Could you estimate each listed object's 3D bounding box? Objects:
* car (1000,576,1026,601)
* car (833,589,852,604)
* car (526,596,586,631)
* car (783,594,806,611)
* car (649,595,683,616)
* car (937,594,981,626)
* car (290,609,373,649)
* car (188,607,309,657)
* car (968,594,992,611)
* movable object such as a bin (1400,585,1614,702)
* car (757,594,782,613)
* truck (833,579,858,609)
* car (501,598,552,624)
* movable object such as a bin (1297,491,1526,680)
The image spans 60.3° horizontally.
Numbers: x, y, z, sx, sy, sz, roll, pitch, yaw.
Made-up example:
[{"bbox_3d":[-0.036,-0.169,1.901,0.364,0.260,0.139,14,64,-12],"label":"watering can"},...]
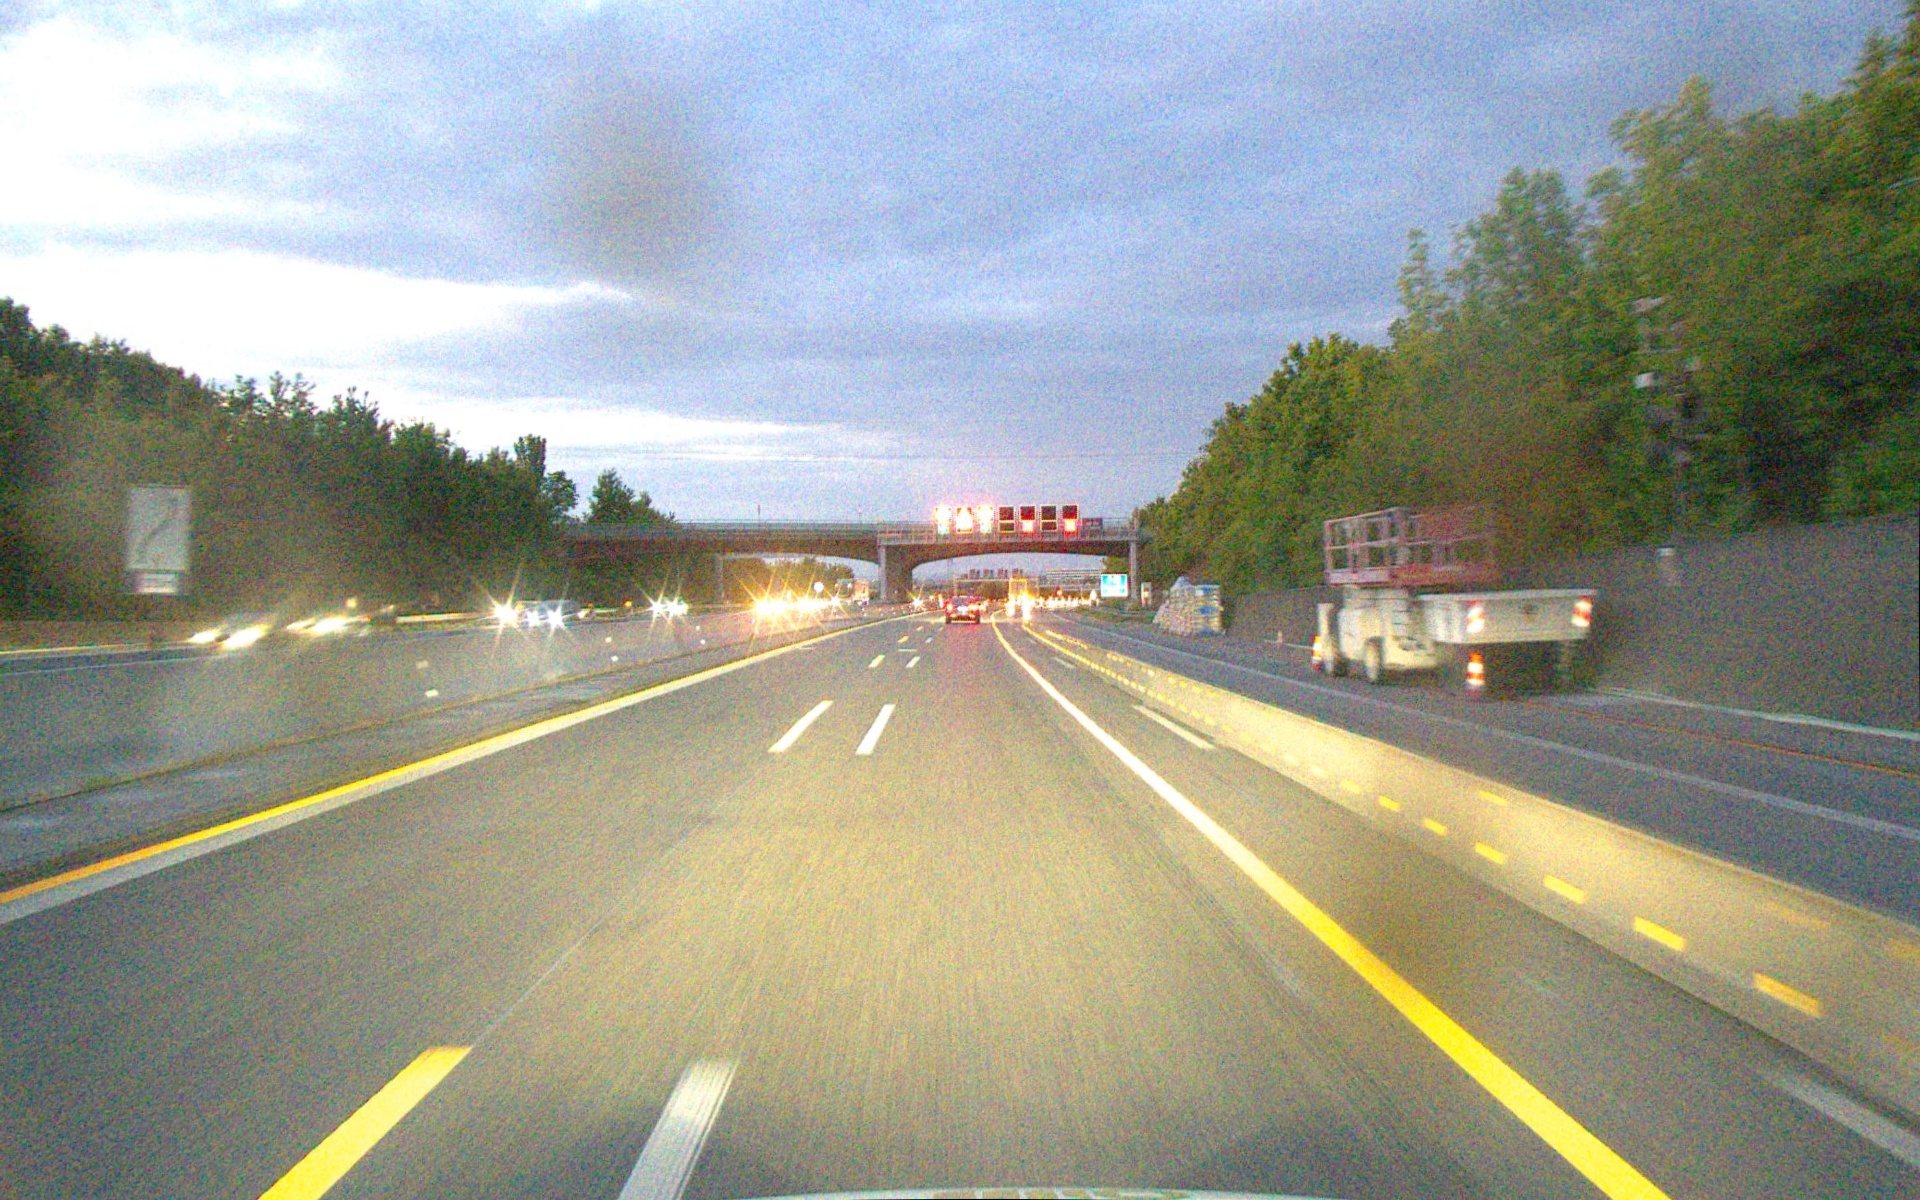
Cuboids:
[{"bbox_3d":[7.642,-1.681,239.003,3.531,3.455,8.014,1,0,1],"label":"car"},{"bbox_3d":[-14.079,-0.400,198.731,1.700,1.666,4.892,1,0,2],"label":"car"},{"bbox_3d":[-21.205,0.692,87.015,1.861,1.768,4.808,1,0,1],"label":"car"},{"bbox_3d":[-16.805,0.236,168.114,1.767,1.666,4.752,1,0,2],"label":"car"},{"bbox_3d":[-24.538,0.436,138.111,1.767,1.666,4.752,1,0,2],"label":"car"},{"bbox_3d":[-0.089,0.531,88.266,2.219,1.649,3.999,1,0,-1],"label":"car"},{"bbox_3d":[-25.404,1.158,66.978,1.630,1.534,4.179,1,0,1],"label":"car"},{"bbox_3d":[-22.638,1.000,52.823,1.714,1.480,4.671,1,0,1],"label":"car"},{"bbox_3d":[1.823,0.204,149.204,1.930,1.462,4.002,1,0,4],"label":"car"},{"bbox_3d":[8.402,0.641,25.827,1.953,1.629,4.084,-1,-1,0],"label":"movable object such as a bin"},{"bbox_3d":[-17.756,0.313,154.282,1.644,1.666,4.752,1,0,2],"label":"car"},{"bbox_3d":[-16.418,-0.835,237.675,2.719,4.244,6.388,1,0,3],"label":"truck"},{"bbox_3d":[-26.576,0.663,101.496,1.788,1.511,4.702,1,0,1],"label":"car"},{"bbox_3d":[8.213,-0.235,30.788,2.567,3.162,5.804,0,0,-1],"label":"movable object such as a bin"}]
